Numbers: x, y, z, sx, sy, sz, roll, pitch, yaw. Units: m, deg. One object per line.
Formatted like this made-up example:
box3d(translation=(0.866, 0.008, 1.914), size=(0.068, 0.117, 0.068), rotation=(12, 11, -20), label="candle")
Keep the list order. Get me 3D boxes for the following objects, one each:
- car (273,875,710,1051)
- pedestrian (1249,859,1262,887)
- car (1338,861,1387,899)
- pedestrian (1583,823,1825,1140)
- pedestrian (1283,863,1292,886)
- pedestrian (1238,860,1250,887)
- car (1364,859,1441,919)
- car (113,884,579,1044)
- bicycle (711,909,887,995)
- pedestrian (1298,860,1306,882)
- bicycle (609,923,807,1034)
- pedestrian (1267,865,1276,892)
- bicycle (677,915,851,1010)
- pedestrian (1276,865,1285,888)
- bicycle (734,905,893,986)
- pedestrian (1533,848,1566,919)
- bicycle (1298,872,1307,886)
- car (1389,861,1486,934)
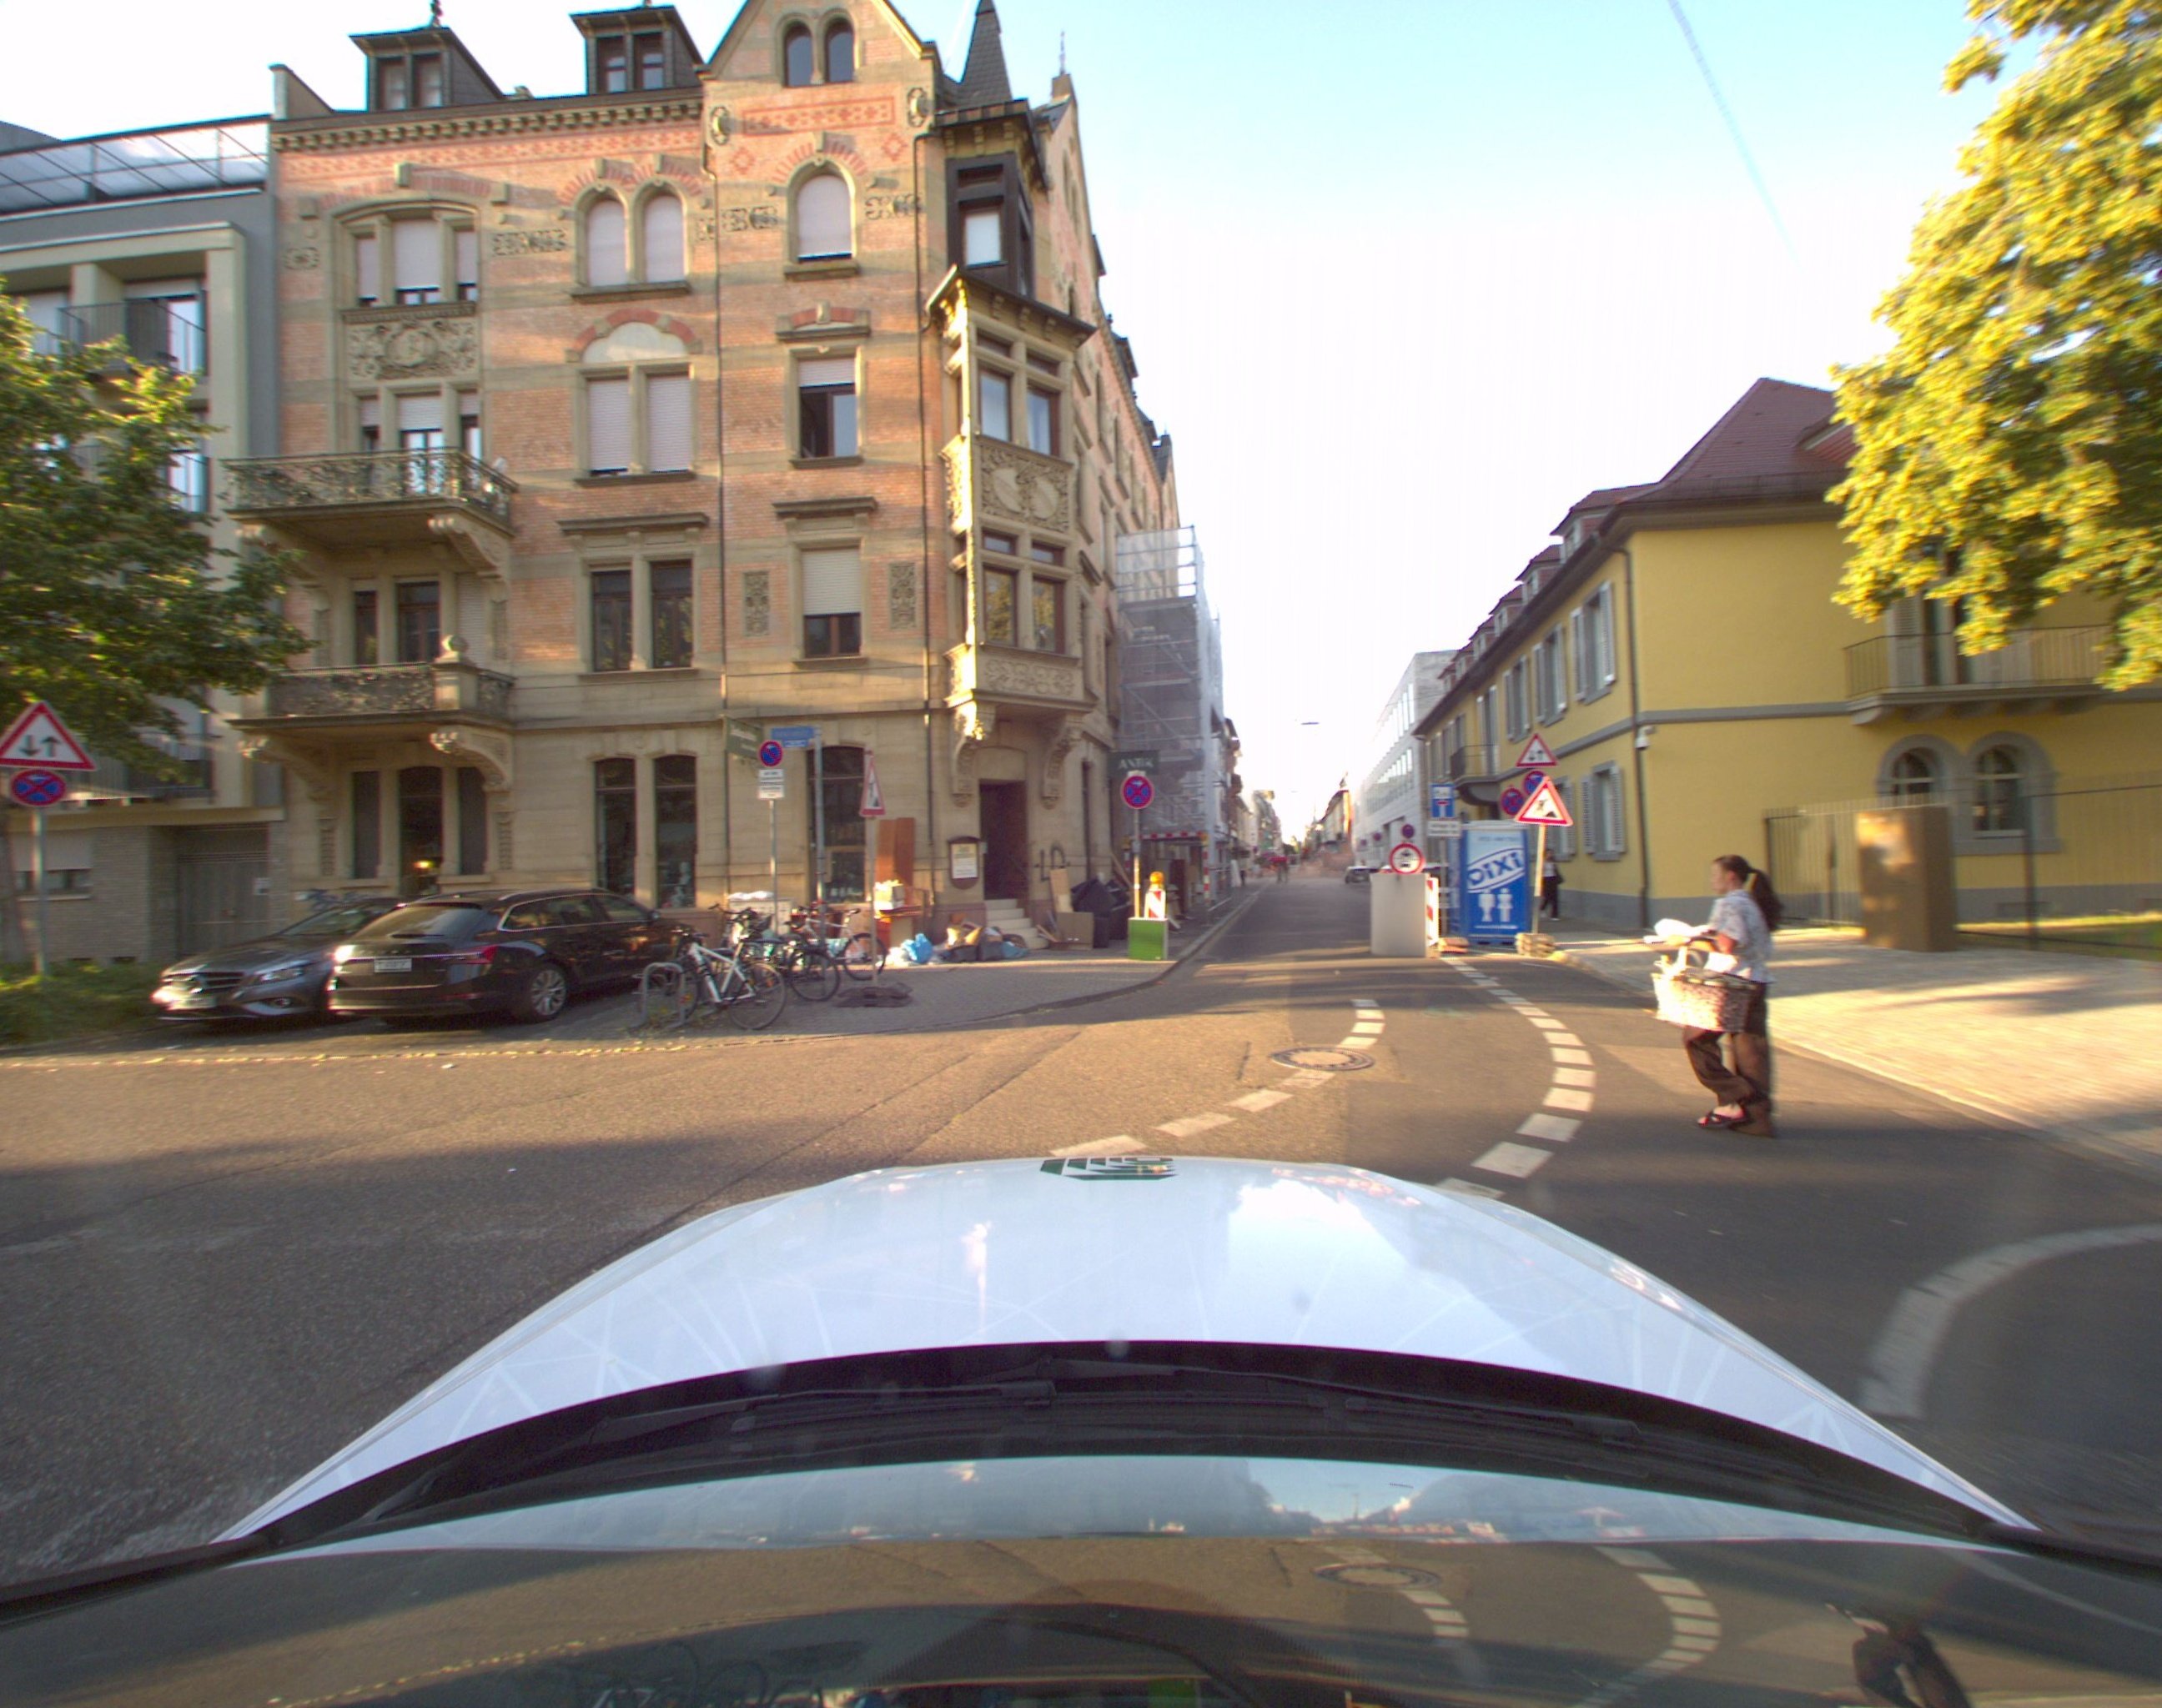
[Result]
box3d(translation=(-6.837, 1.132, 10.269), size=(1.896, 1.511, 4.547), rotation=(-2, 0, 5), label="car")
box3d(translation=(11.289, 1.219, 52.689), size=(0.507, 1.764, 0.508), rotation=(-1, -1, -27), label="pedestrian")
box3d(translation=(11.954, 1.073, 34.743), size=(1.705, 1.520, 3.234), rotation=(-2, -1, 15), label="car")
box3d(translation=(3.681, 0.676, 4.852), size=(0.642, 1.659, 0.949), rotation=(-1, -1, -38), label="pedestrian")
box3d(translation=(13.688, 1.353, 53.993), size=(0.500, 1.461, 0.515), rotation=(-3, -1, 20), label="pedestrian")
box3d(translation=(10.314, 1.233, 51.481), size=(0.671, 1.733, 0.702), rotation=(-2, -2, 11), label="pedestrian")
box3d(translation=(9.039, 0.930, 23.159), size=(1.529, 1.520, 3.994), rotation=(-2, -1, 15), label="car")
box3d(translation=(-9.226, 1.255, 10.916), size=(1.853, 1.479, 4.547), rotation=(-2, 0, 5), label="car")
box3d(translation=(-3.733, 1.292, 10.854), size=(2.095, 1.014, 0.640), rotation=(-2, -1, 3), label="bicycle")
box3d(translation=(14.597, 1.136, 53.795), size=(0.500, 1.461, 0.514), rotation=(-2, -1, 16), label="pedestrian")
box3d(translation=(-3.885, 1.289, 8.523), size=(1.816, 1.047, 0.572), rotation=(-2, -1, 6), label="bicycle")
box3d(translation=(11.490, 1.474, 49.164), size=(0.339, 1.567, 0.423), rotation=(-3, -2, 37), label="pedestrian")
box3d(translation=(-3.788, 1.285, 9.801), size=(1.818, 1.014, 0.640), rotation=(-2, -1, 3), label="bicycle")
box3d(translation=(12.730, 1.437, 51.914), size=(0.501, 1.461, 0.514), rotation=(-2, -1, 14), label="pedestrian")
box3d(translation=(-3.798, 1.295, 11.602), size=(2.095, 1.040, 0.466), rotation=(-2, -1, 3), label="bicycle")
box3d(translation=(10.783, 0.668, 18.769), size=(0.463, 1.595, 0.676), rotation=(-3, -1, 17), label="pedestrian")
box3d(translation=(14.630, 1.646, 53.837), size=(0.501, 0.884, 1.482), rotation=(-2, -1, 14), label="bicycle")
box3d(translation=(8.090, 0.922, 18.713), size=(1.529, 1.520, 3.234), rotation=(-1, -1, 15), label="car")
